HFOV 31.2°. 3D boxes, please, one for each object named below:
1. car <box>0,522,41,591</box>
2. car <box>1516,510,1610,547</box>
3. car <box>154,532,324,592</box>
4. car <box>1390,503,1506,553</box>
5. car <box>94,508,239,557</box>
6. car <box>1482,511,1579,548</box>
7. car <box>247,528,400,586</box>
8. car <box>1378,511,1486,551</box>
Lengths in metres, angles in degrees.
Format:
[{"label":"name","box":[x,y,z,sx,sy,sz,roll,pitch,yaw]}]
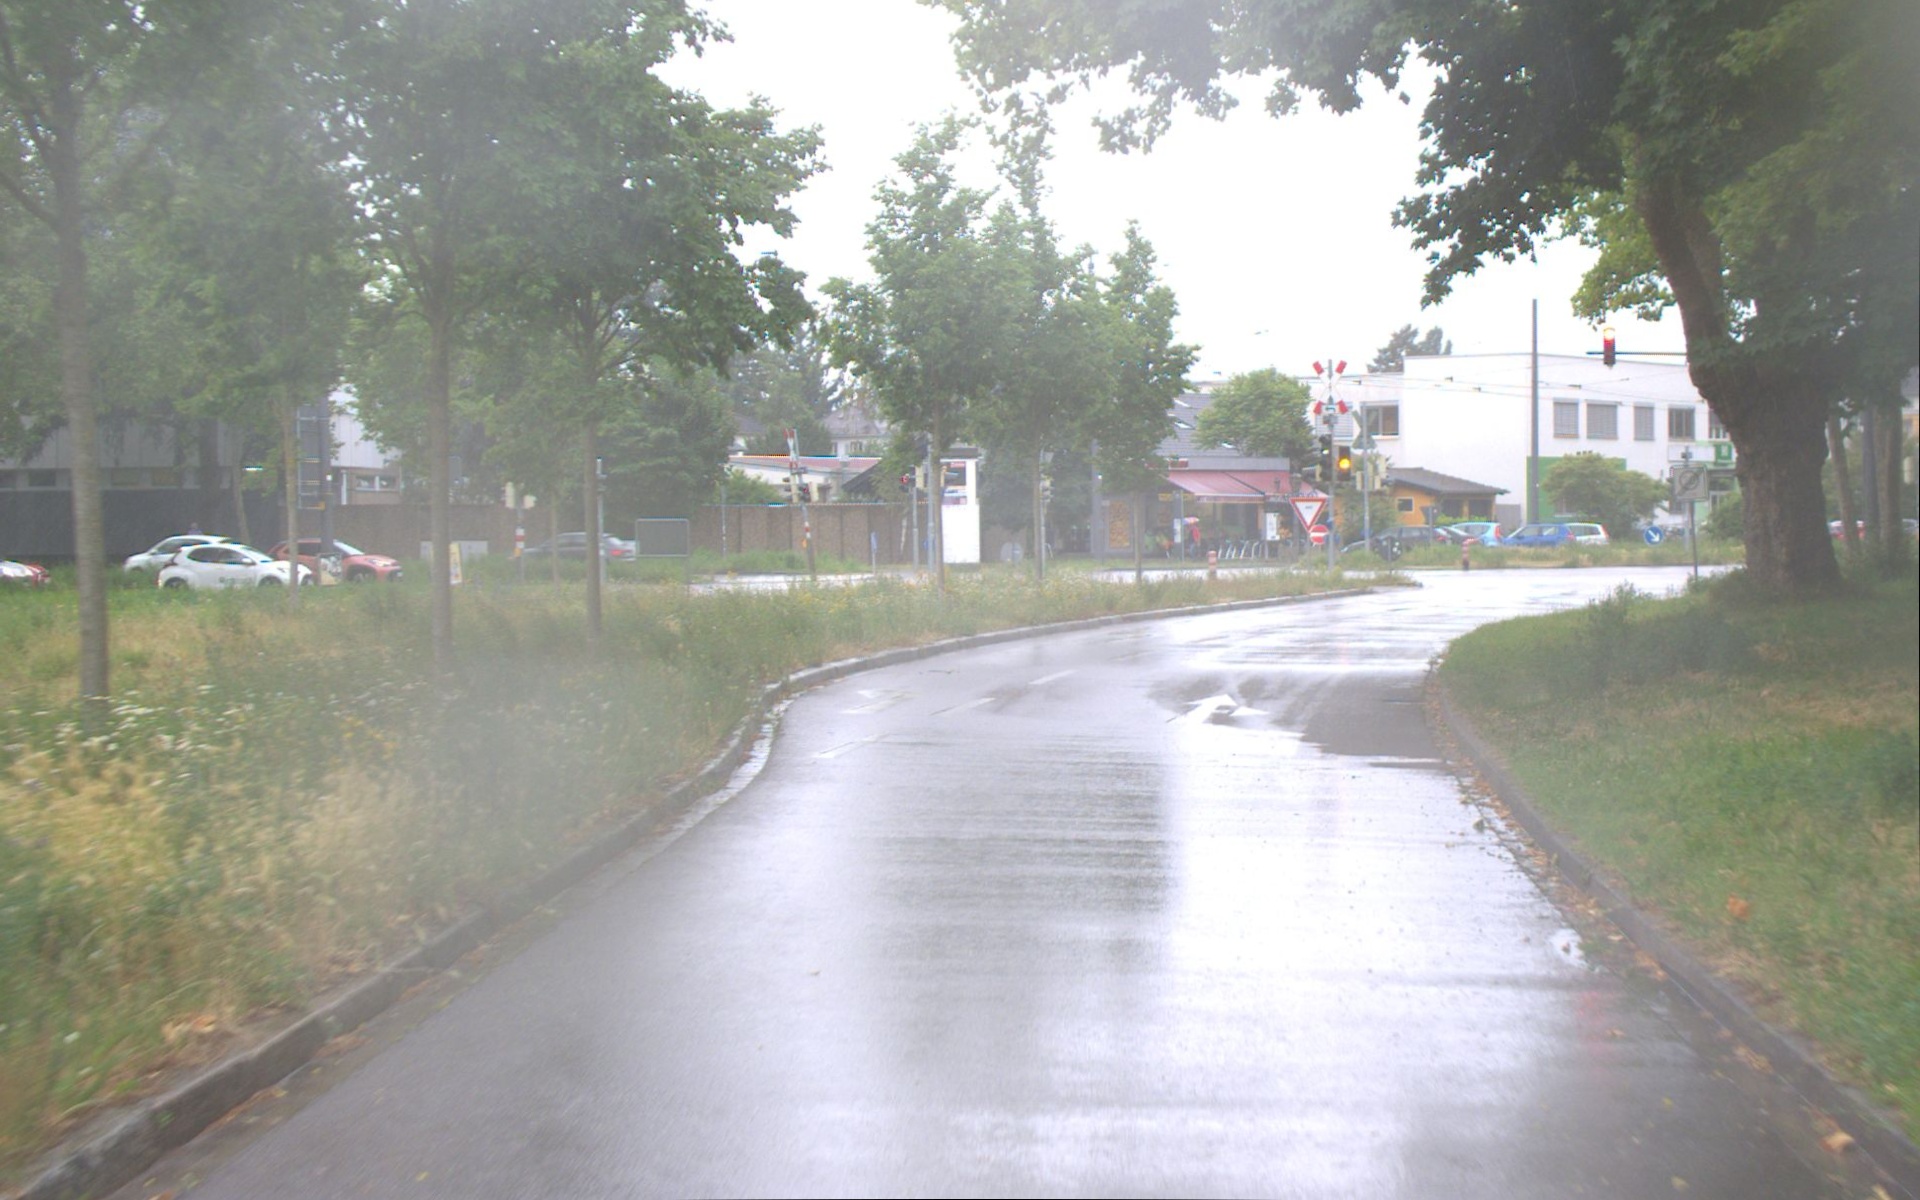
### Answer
[{"label":"car","box":[-26.960,-1.161,91.986,4.210,1.790,1.652,-1,2,5]},{"label":"car","box":[24.667,-2.913,140.628,3.752,1.437,1.762,-1,1,11]},{"label":"car","box":[-19.014,-1.002,90.744,4.066,1.494,1.652,-1,1,6]},{"label":"car","box":[19.004,-2.807,133.806,4.140,1.853,1.671,-1,1,24]},{"label":"car","box":[-24.051,-2.054,104.207,3.987,1.415,1.538,-1,2,3]},{"label":"car","box":[22.868,-2.822,137.760,3.752,1.437,1.762,-1,1,11]},{"label":"car","box":[-17.457,-1.186,94.369,3.819,1.494,1.652,-1,1,6]},{"label":"car","box":[17.930,-2.608,130.525,3.754,1.437,1.761,-1,1,21]}]
